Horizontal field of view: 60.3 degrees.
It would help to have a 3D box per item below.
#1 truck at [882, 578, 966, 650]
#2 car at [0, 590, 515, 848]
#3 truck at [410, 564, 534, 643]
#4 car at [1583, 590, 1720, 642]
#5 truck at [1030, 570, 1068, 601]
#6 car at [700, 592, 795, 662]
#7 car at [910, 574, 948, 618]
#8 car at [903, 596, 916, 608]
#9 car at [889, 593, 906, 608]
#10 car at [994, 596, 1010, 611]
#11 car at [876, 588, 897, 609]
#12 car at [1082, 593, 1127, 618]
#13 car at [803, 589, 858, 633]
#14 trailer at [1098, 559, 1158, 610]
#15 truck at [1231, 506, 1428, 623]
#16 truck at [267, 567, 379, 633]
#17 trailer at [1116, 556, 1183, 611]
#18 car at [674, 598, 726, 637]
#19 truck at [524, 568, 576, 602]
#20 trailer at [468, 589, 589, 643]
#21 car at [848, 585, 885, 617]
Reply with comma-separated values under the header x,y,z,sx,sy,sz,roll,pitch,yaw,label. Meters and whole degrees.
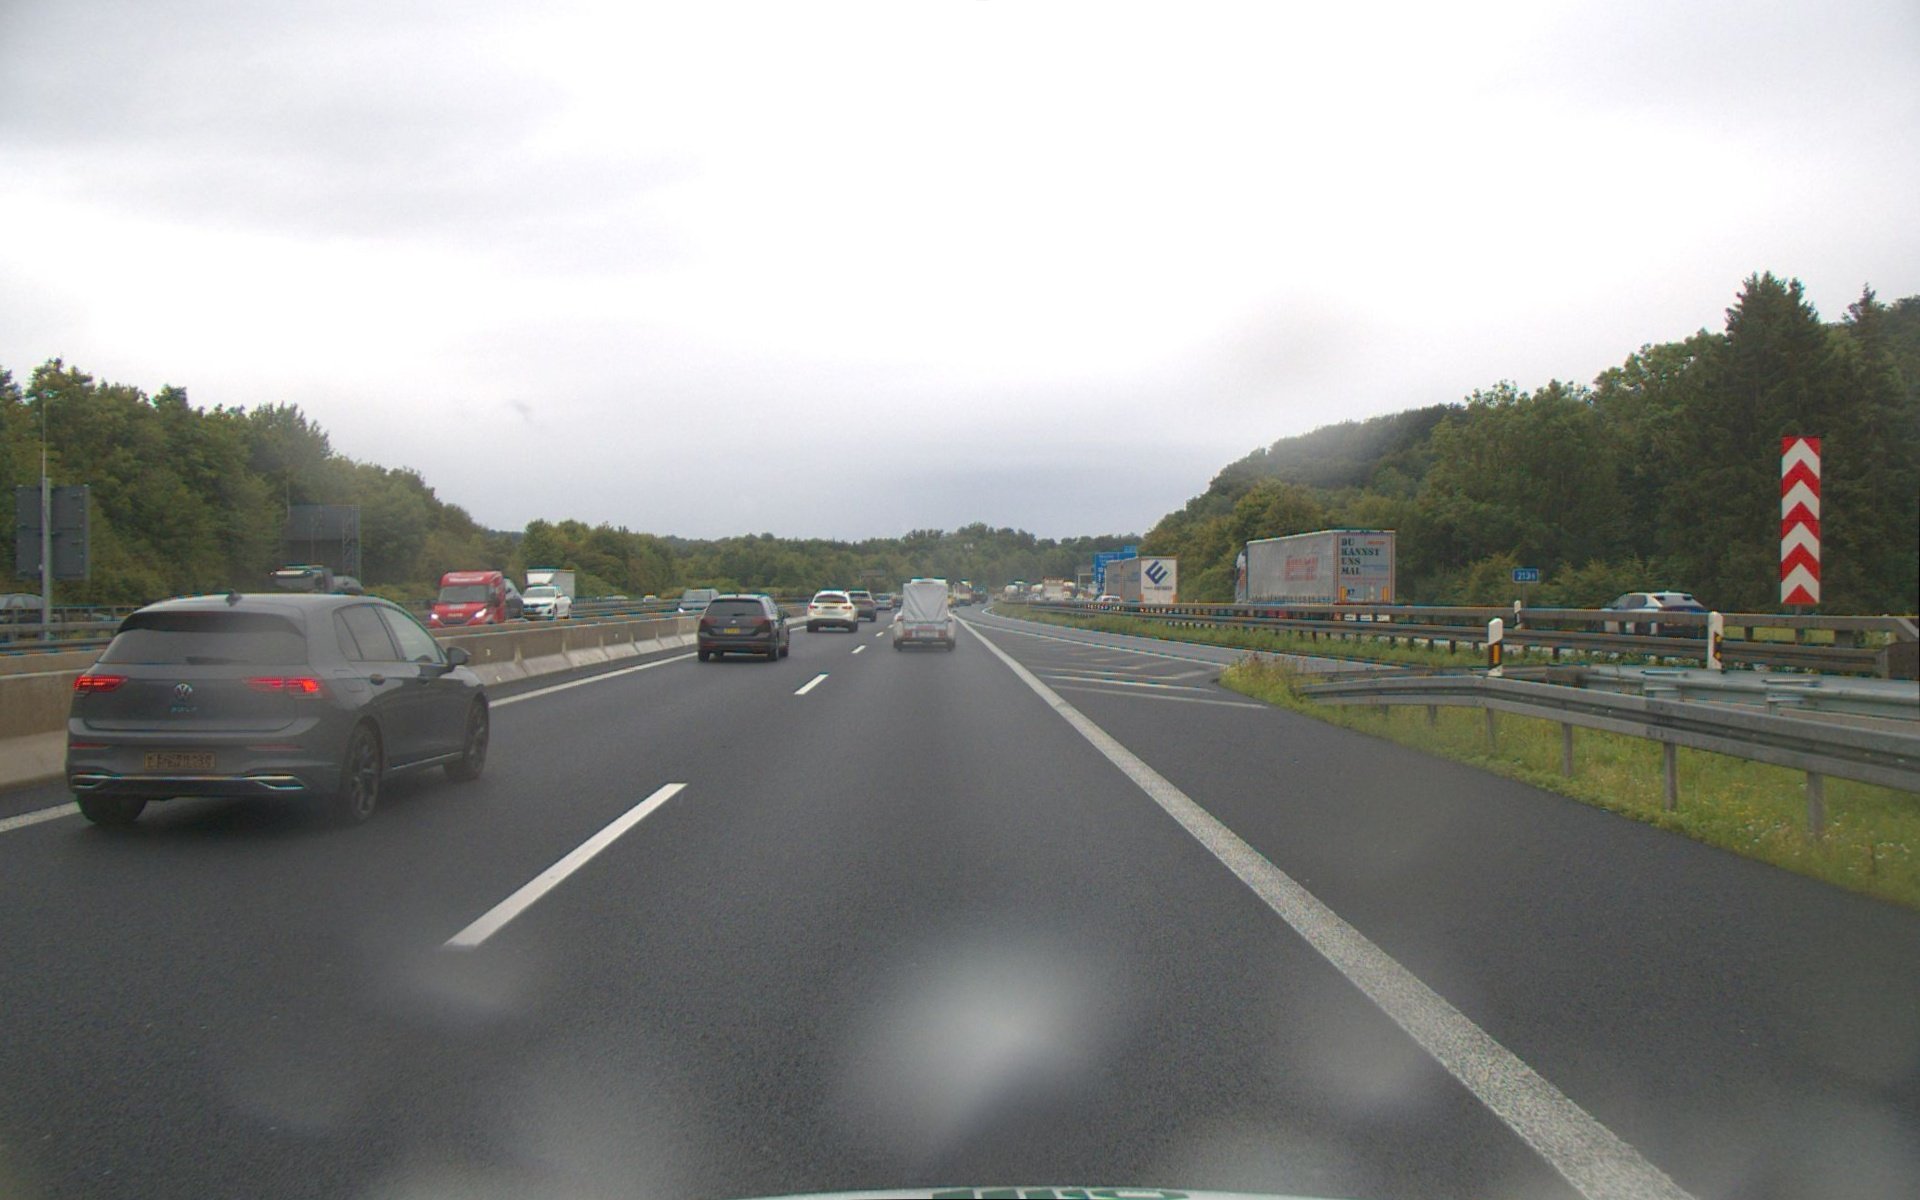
x,y,z,sx,sy,sz,roll,pitch,yaw,label
-1.003,0.393,47.295,2.196,1.871,6.583,1,0,-1,truck
-4.597,0.678,11.611,1.793,1.450,4.367,1,0,-1,car
-17.261,0.110,58.931,2.377,2.639,7.092,0,0,-1,truck
21.019,0.454,50.517,1.783,1.530,5.027,0,0,-4,car
11.407,-1.827,212.399,3.750,3.723,8.264,1,0,-5,truck
-4.836,0.582,38.203,1.751,1.484,4.800,1,0,-3,car
-2.069,-0.287,108.153,2.285,2.773,6.536,0,0,-3,car
-6.651,0.263,217.622,1.612,1.601,3.999,1,0,-1,car
-6.890,0.024,183.249,1.782,1.691,4.016,0,0,-1,car
4.641,0.374,182.473,1.612,1.601,3.999,1,0,-1,car
-6.628,-0.142,149.473,1.703,1.825,3.999,1,0,-1,car
9.565,0.367,109.615,1.956,1.645,5.071,0,0,-7,car
-5.279,0.408,66.971,2.009,1.700,4.534,1,0,-7,car
12.296,-1.100,121.770,2.881,3.588,8.411,1,0,-5,trailer
16.007,-1.384,73.830,3.746,4.620,16.867,0,0,-5,truck
-32.837,-0.016,85.628,2.462,3.200,8.847,0,0,-1,truck
12.944,-1.091,113.499,3.018,3.588,8.077,1,0,-5,trailer
-13.976,0.906,89.111,1.952,2.049,5.099,0,0,0,car
-36.965,-1.328,149.379,2.684,2.923,8.538,0,0,-2,truck
-17.457,0.590,67.679,2.485,2.049,10.242,0,0,-1,trailer
-5.386,0.045,95.584,1.936,1.733,4.801,1,0,-1,car
